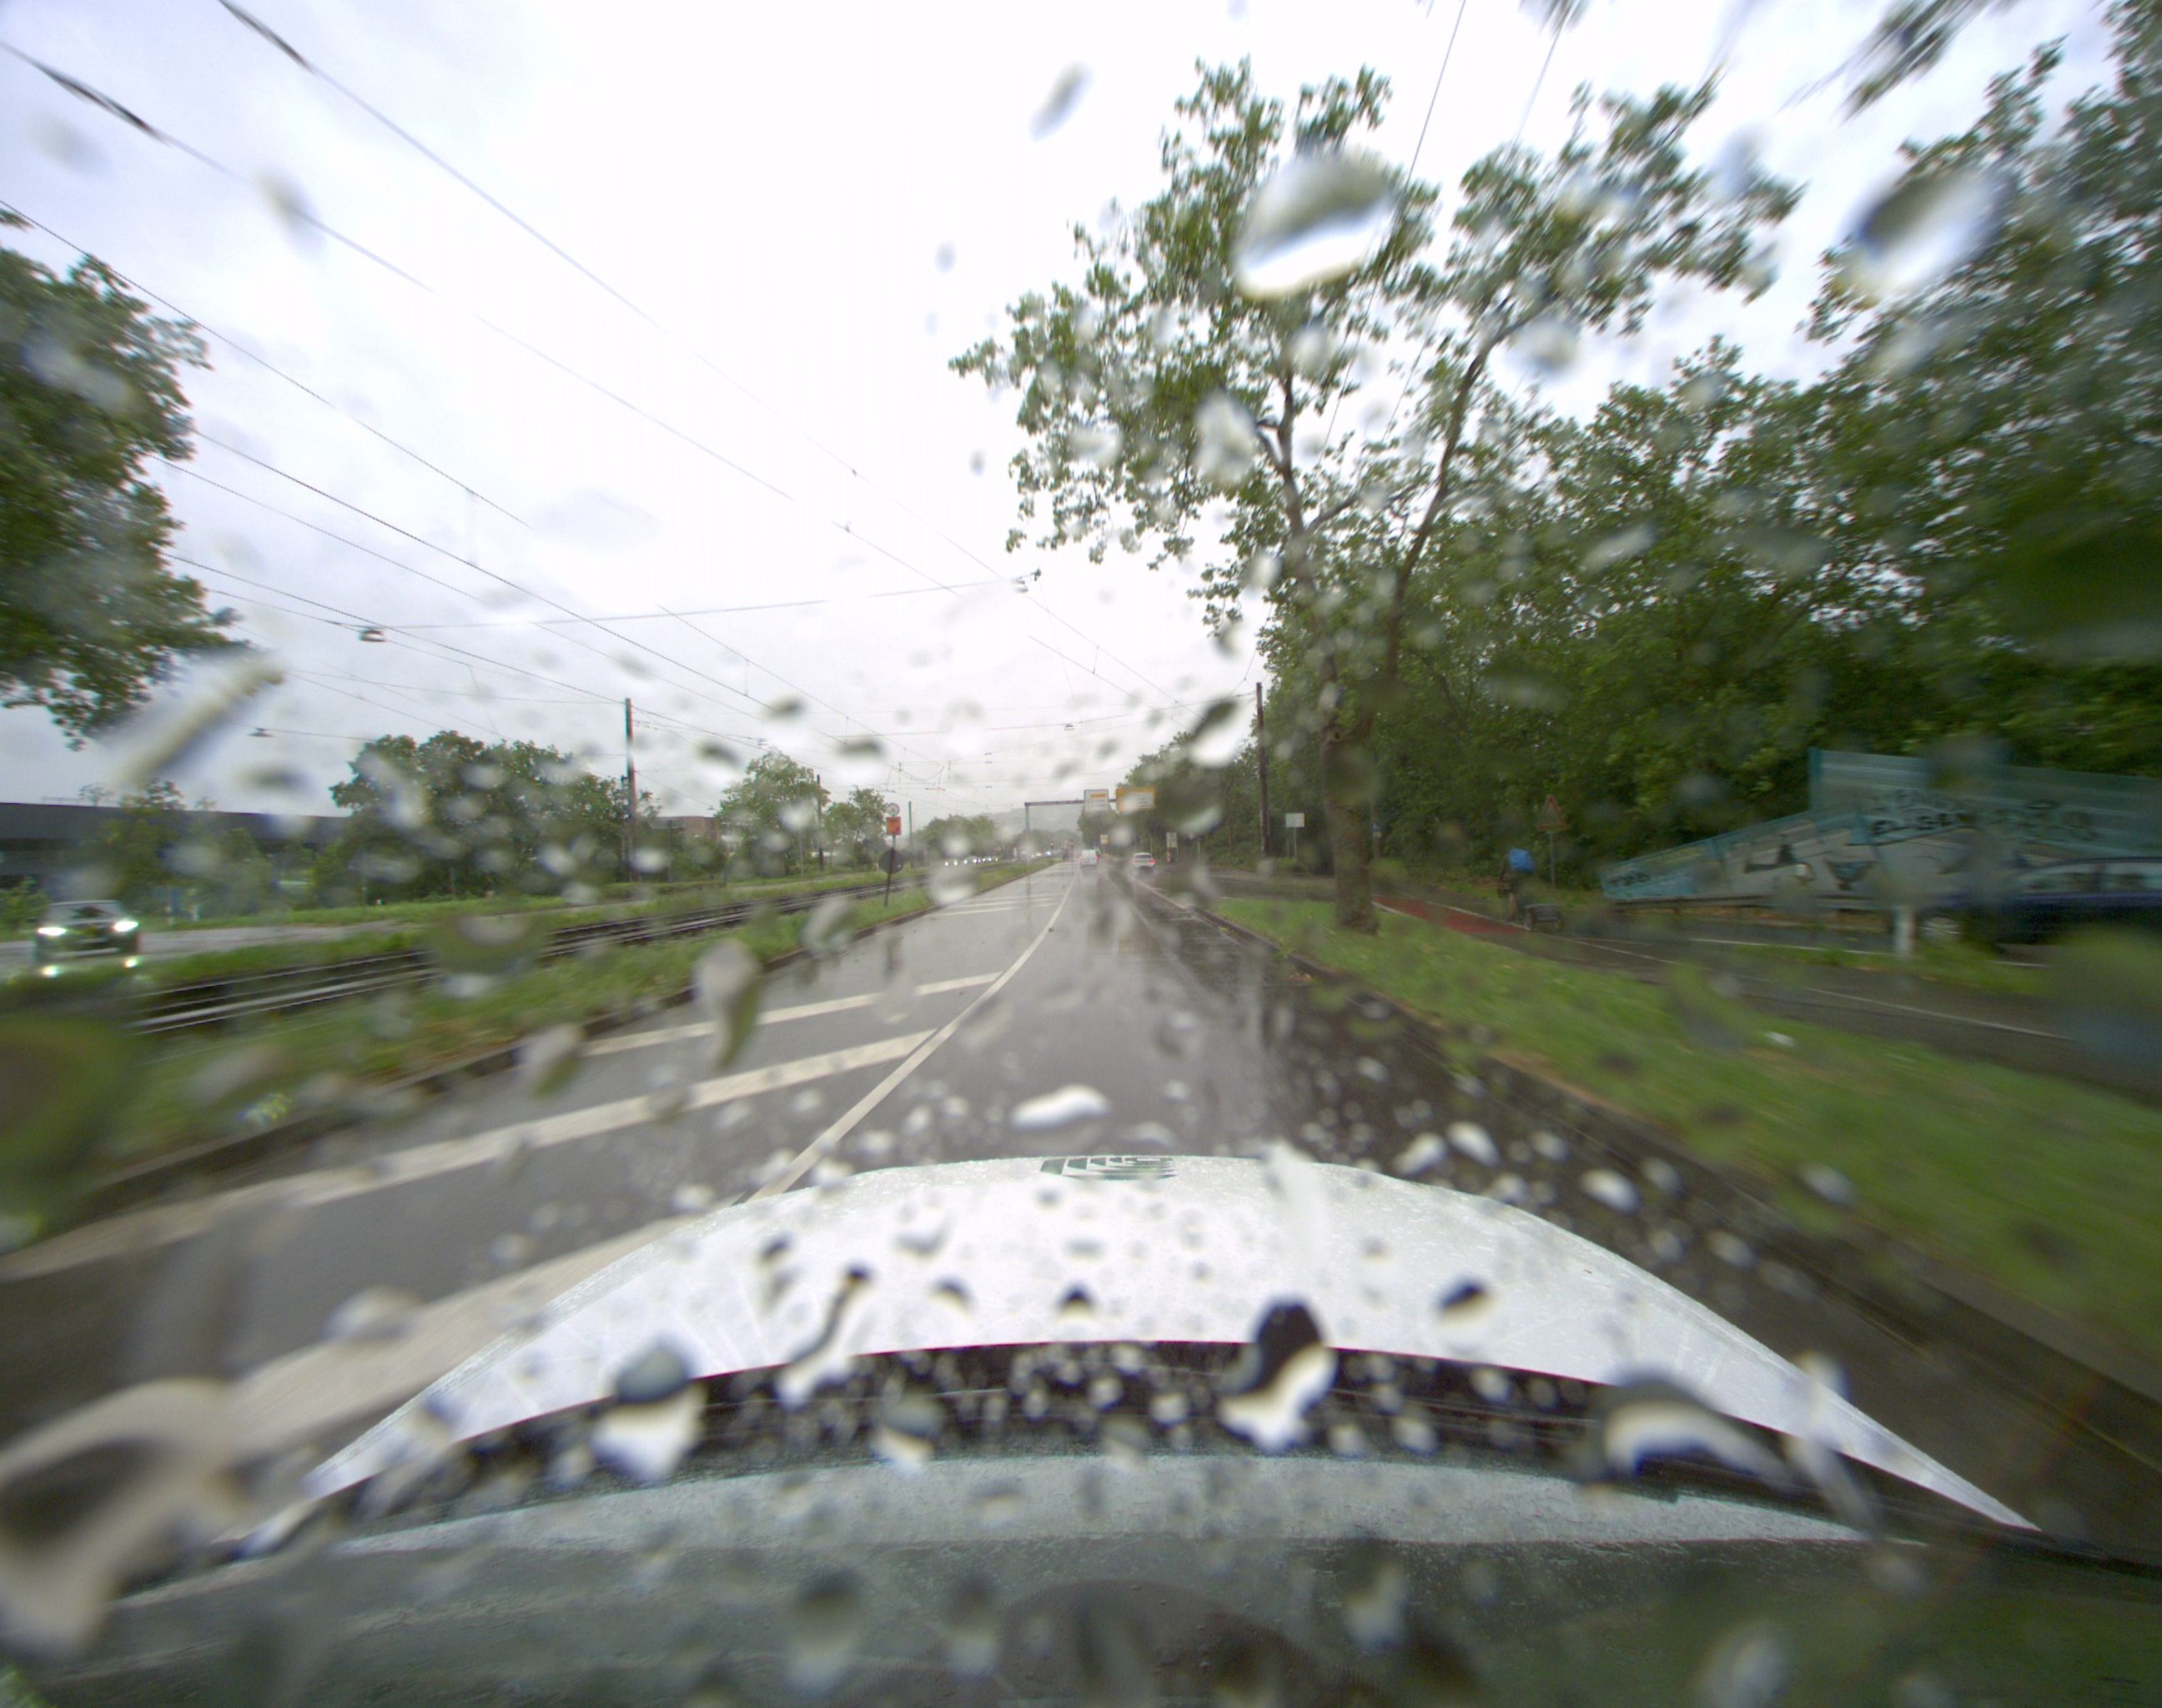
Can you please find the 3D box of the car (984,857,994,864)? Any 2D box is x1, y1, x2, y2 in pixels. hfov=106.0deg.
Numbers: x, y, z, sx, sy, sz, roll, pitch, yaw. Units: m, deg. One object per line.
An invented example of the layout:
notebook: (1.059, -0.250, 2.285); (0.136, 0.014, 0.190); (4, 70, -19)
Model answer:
car: (-20.306, 1.359, 179.502); (1.715, 1.494, 3.999); (-1, 0, -1)

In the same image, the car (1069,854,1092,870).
car: (0.005, 0.694, 76.592); (2.071, 1.420, 4.000); (-2, 0, 0)

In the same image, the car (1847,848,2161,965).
car: (14.919, 0.718, 12.321); (1.872, 1.536, 4.478); (-2, 0, -26)

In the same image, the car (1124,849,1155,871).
car: (4.371, 0.442, 61.390); (1.942, 1.536, 4.465); (-2, 0, -1)

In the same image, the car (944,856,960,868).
car: (-20.631, 1.255, 130.024); (1.939, 1.686, 4.775); (-2, 0, -3)

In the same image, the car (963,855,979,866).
car: (-17.333, 1.078, 128.457); (1.939, 1.616, 4.982); (-2, 0, -3)

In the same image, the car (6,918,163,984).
car: (-29.154, 2.758, 23.817); (4.224, 1.528, 2.233); (-2, 0, 30)
